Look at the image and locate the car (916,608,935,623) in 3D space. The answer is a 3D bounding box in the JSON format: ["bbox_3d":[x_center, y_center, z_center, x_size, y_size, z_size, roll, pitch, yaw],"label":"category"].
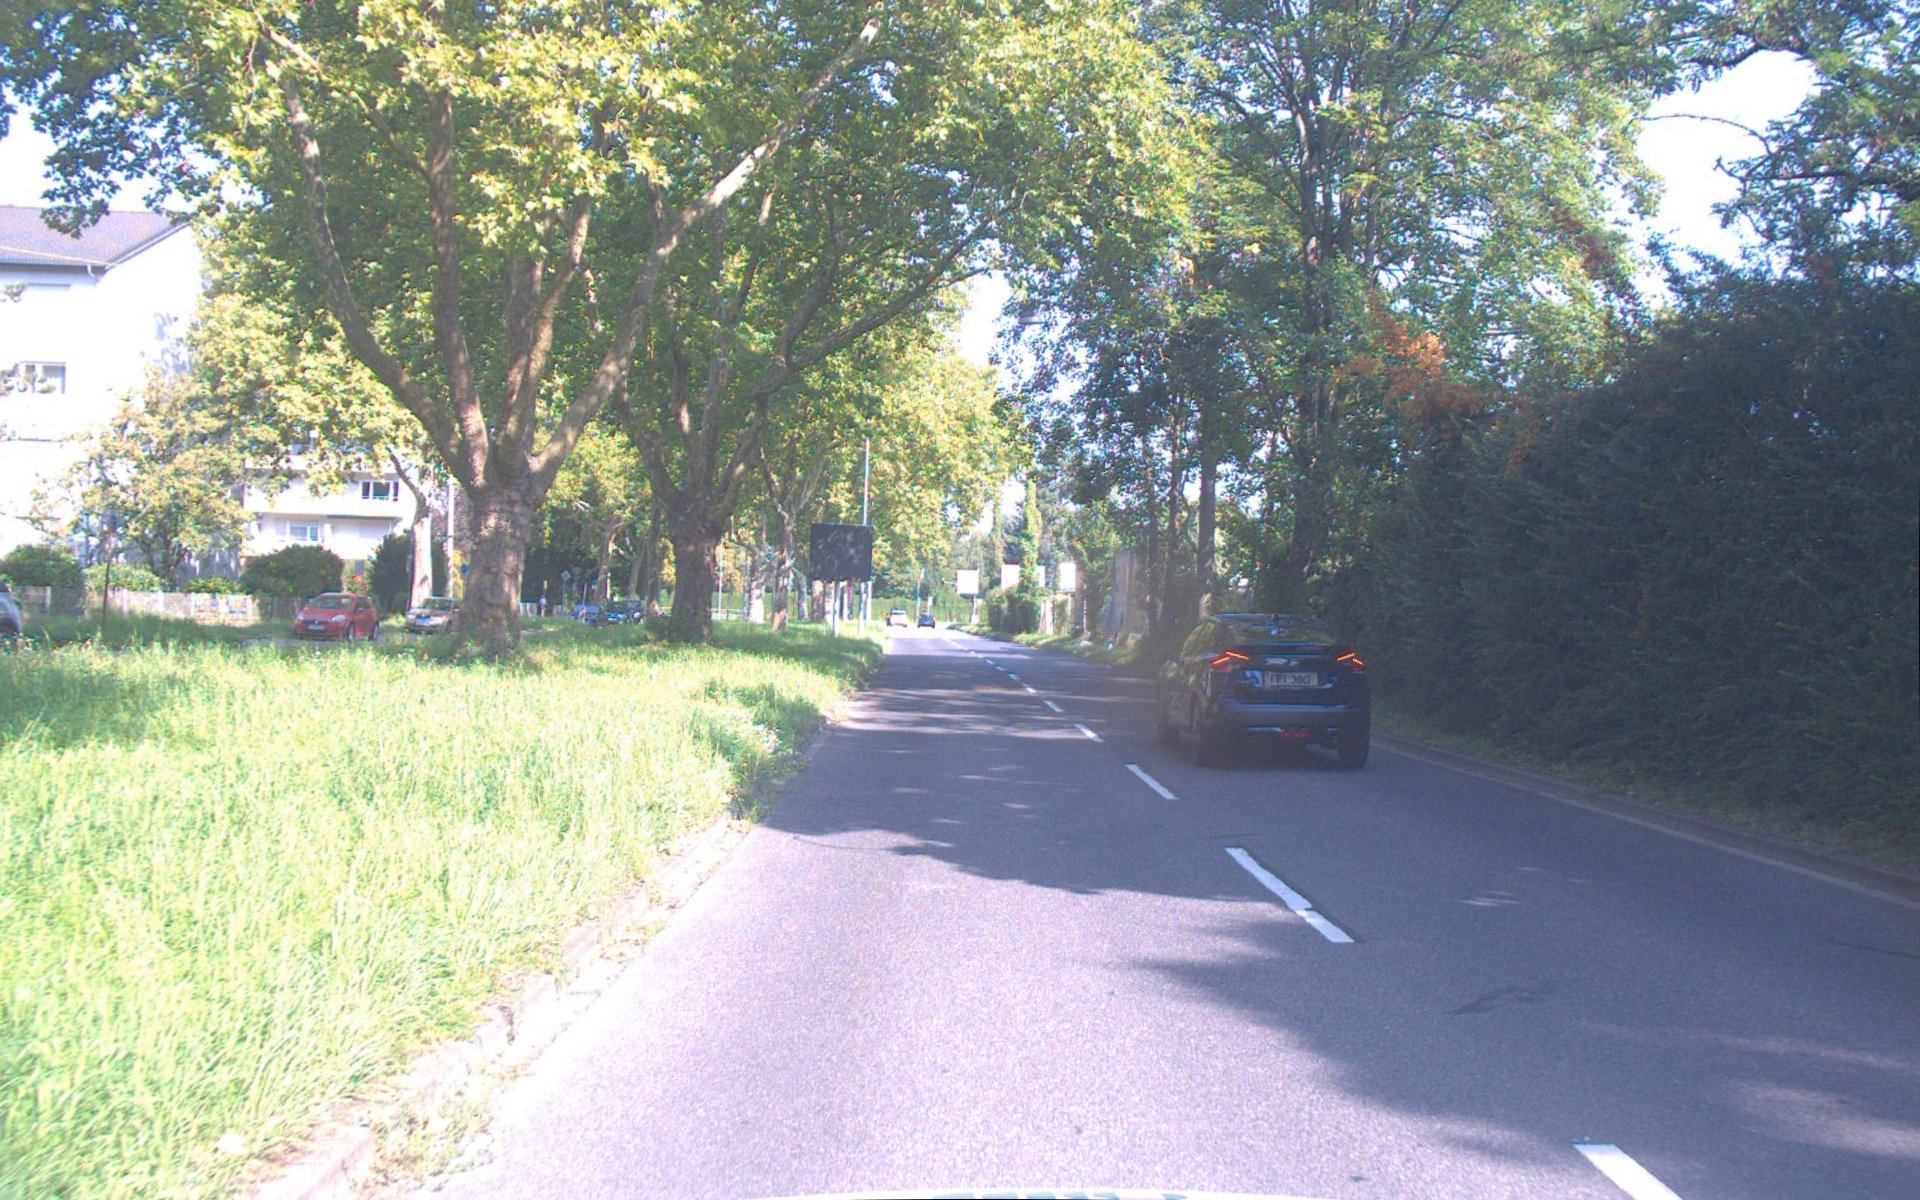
[{"bbox_3d":[-3.538,1.556,168.035,1.762,1.425,3.997,2,0,-3],"label":"car"}]

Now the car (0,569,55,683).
[{"bbox_3d":[-15.639,0.387,24.605,1.765,1.750,4.719,1,0,-1],"label":"car"}]

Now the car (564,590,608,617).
[{"bbox_3d":[-21.774,0.204,96.488,1.665,1.534,4.538,2,0,-2],"label":"car"}]

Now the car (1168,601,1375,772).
[{"bbox_3d":[3.270,0.847,18.067,1.611,1.616,4.256,1,0,2],"label":"car"}]

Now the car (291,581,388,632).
[{"bbox_3d":[-19.429,0.199,51.982,1.507,1.477,4.063,2,0,-1],"label":"car"}]

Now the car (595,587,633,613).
[{"bbox_3d":[-21.938,0.002,105.077,1.665,1.595,3.998,2,0,-2],"label":"car"}]

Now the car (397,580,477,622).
[{"bbox_3d":[-20.090,0.030,63.715,1.765,1.455,4.063,2,0,-1],"label":"car"}]

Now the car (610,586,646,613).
[{"bbox_3d":[-22.631,-0.006,112.865,1.665,1.762,4.657,2,0,-2],"label":"car"}]

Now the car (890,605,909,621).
[{"bbox_3d":[-5.778,1.230,158.088,1.653,1.487,3.998,2,0,-2],"label":"car"}]
